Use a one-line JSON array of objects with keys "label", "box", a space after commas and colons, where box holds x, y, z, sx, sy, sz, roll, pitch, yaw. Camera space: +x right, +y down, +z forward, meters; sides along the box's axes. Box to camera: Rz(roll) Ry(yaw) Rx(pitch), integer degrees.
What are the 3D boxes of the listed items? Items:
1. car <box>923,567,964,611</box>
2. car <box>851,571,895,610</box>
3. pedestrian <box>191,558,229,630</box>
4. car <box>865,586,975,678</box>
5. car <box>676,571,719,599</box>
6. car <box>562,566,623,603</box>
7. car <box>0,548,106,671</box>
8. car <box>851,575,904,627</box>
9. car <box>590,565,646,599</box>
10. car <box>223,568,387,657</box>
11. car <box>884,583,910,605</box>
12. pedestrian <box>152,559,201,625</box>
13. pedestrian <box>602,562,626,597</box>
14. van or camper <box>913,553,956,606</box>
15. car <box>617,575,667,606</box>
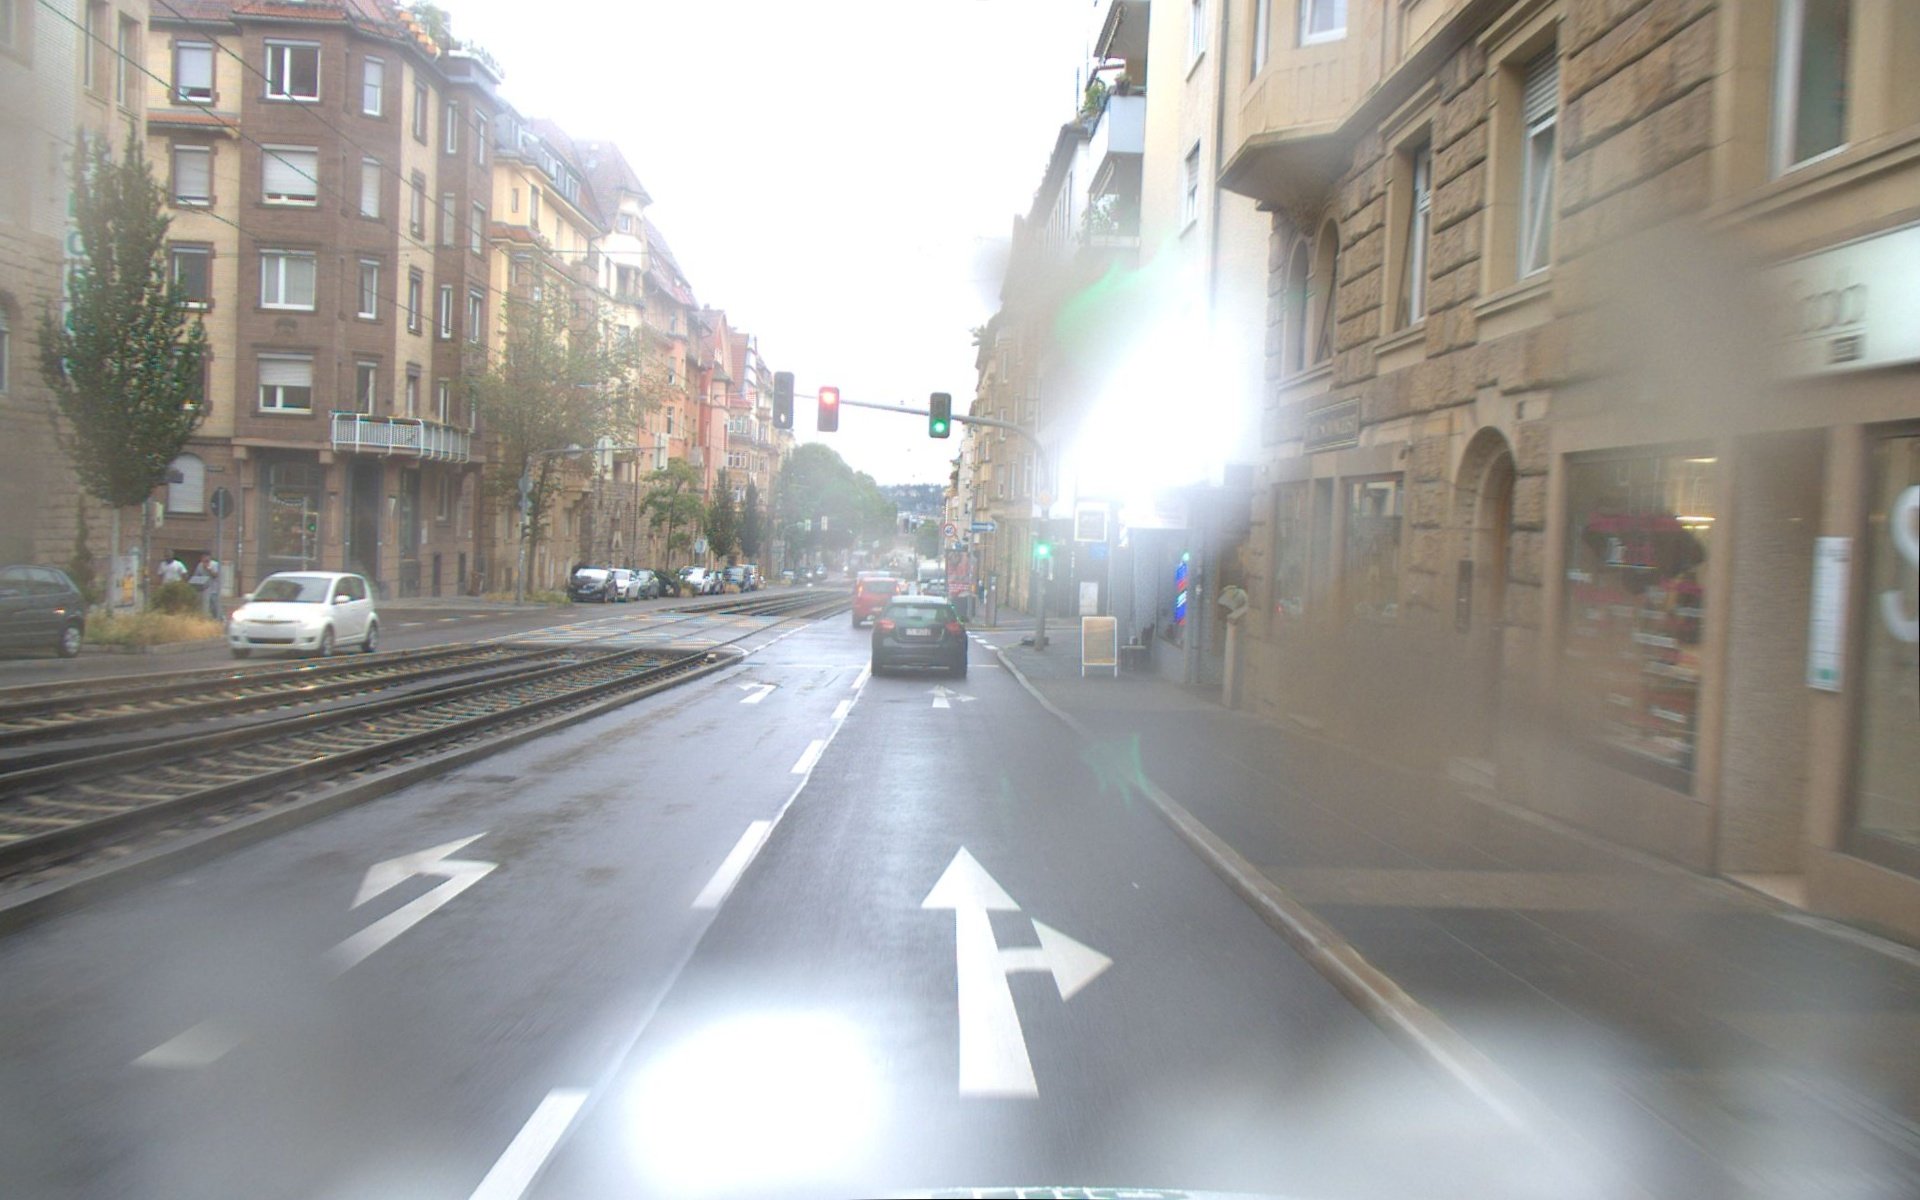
[{"label": "car", "box": [-0.771, -0.510, 74.465, 1.733, 1.839, 4.481, 2, 1, -1]}, {"label": "car", "box": [-3.937, -0.435, 74.897, 1.883, 1.684, 3.997, 2, 0, -4]}, {"label": "pedestrian", "box": [-16.792, -0.138, 37.041, 0.506, 1.598, 0.644, 1, 0, 3]}, {"label": "car", "box": [-0.773, 0.551, 31.001, 1.907, 1.592, 3.641, 1, 0, -2]}, {"label": "car", "box": [-16.024, -0.927, 101.045, 1.748, 1.617, 4.352, 2, 0, 2]}, {"label": "car", "box": [-15.776, -0.648, 71.211, 1.729, 1.512, 4.000, 2, 0, 0]}, {"label": "car", "box": [-14.945, 0.101, 24.981, 1.847, 1.757, 3.742, 4, 0, 4]}, {"label": "car", "box": [-2.623, 0.007, 53.188, 1.504, 1.536, 4.000, 2, 1, -1]}, {"label": "car", "box": [-15.716, -0.838, 76.180, 1.633, 1.450, 4.263, 2, 1, 0]}, {"label": "car", "box": [-12.022, 0.211, 30.594, 1.594, 1.508, 3.580, 1, 0, -1]}, {"label": "car", "box": [-4.772, -0.429, 126.005, 1.864, 1.621, 3.999, 1, 0, -1]}, {"label": "pedestrian", "box": [-17.498, -0.180, 36.956, 0.738, 1.446, 0.645, 2, 0, 1]}, {"label": "pedestrian", "box": [-18.388, -1.085, 87.821, 0.987, 1.784, 0.924, 3, 1, -1]}, {"label": "van or camper", "box": [-1.275, -0.997, 82.863, 2.022, 2.512, 6.118, 1, 0, -1]}, {"label": "car", "box": [-15.704, -0.470, 81.869, 1.529, 1.463, 4.146, 2, 0, 1]}]
